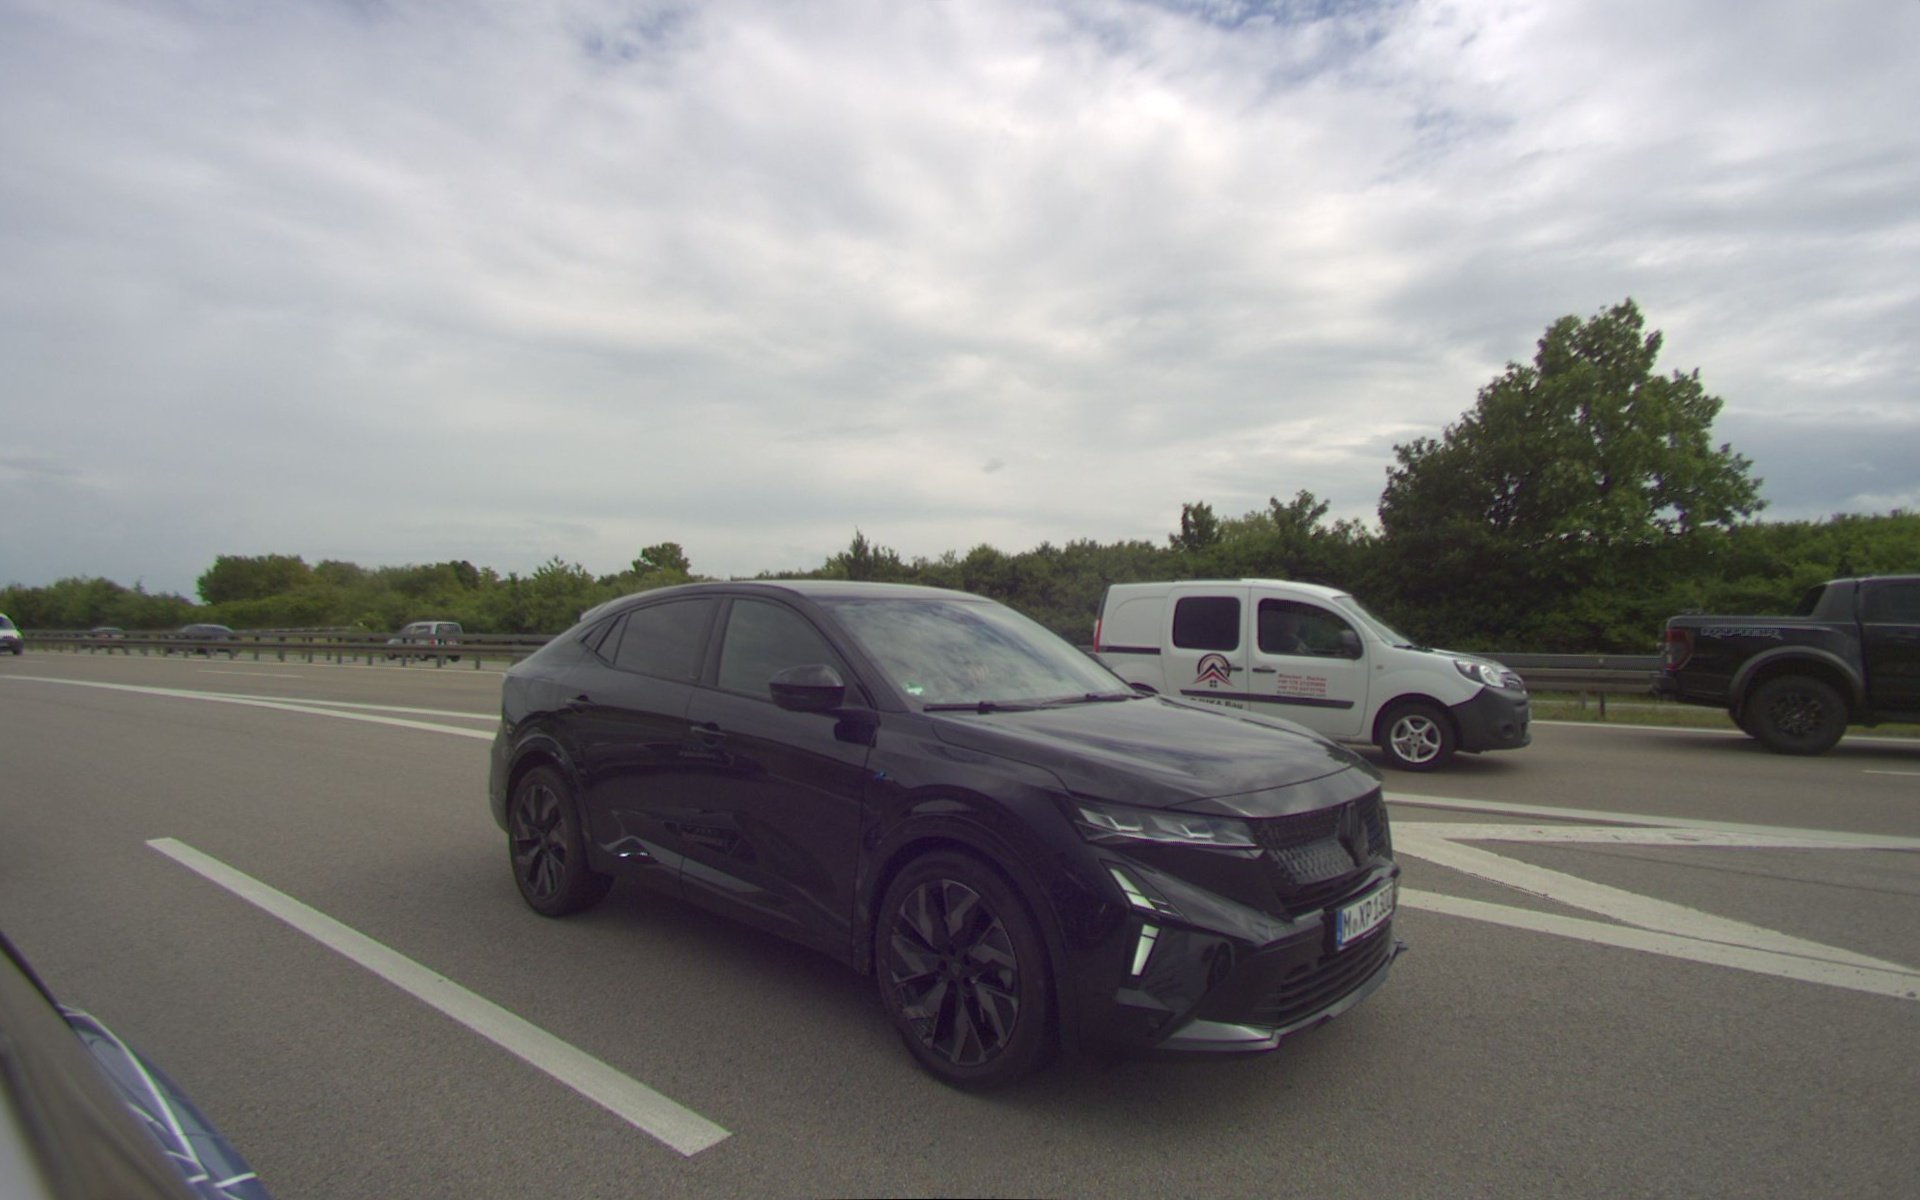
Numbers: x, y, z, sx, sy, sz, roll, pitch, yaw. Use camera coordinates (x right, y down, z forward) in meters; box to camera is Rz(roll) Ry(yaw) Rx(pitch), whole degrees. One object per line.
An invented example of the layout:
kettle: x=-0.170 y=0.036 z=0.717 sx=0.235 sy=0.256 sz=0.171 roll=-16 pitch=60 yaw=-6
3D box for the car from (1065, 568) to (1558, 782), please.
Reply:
car: x=3.493 y=0.676 z=10.404 sx=4.474 sy=1.765 sz=1.861 roll=-1 pitch=-2 yaw=34

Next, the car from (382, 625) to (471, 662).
car: x=-25.092 y=2.035 z=47.556 sx=3.987 sy=1.663 sz=1.978 roll=-1 pitch=-2 yaw=33

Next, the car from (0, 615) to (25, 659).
car: x=-41.517 y=1.565 z=42.787 sx=3.989 sy=1.824 sz=1.977 roll=-1 pitch=-2 yaw=34

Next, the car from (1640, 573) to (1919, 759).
car: x=10.210 y=0.651 z=10.295 sx=5.397 sy=1.799 sz=1.977 roll=-1 pitch=-2 yaw=34

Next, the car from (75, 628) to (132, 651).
car: x=-58.458 y=2.666 z=69.076 sx=3.989 sy=1.530 sz=1.977 roll=-1 pitch=-2 yaw=34

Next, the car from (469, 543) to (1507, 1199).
car: x=-0.299 y=0.709 z=4.485 sx=4.496 sy=1.578 sz=1.814 roll=-1 pitch=-2 yaw=42

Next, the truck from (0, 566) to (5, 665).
truck: x=-36.956 y=0.633 z=36.082 sx=7.900 sy=3.397 sz=2.447 roll=-2 pitch=-2 yaw=33
